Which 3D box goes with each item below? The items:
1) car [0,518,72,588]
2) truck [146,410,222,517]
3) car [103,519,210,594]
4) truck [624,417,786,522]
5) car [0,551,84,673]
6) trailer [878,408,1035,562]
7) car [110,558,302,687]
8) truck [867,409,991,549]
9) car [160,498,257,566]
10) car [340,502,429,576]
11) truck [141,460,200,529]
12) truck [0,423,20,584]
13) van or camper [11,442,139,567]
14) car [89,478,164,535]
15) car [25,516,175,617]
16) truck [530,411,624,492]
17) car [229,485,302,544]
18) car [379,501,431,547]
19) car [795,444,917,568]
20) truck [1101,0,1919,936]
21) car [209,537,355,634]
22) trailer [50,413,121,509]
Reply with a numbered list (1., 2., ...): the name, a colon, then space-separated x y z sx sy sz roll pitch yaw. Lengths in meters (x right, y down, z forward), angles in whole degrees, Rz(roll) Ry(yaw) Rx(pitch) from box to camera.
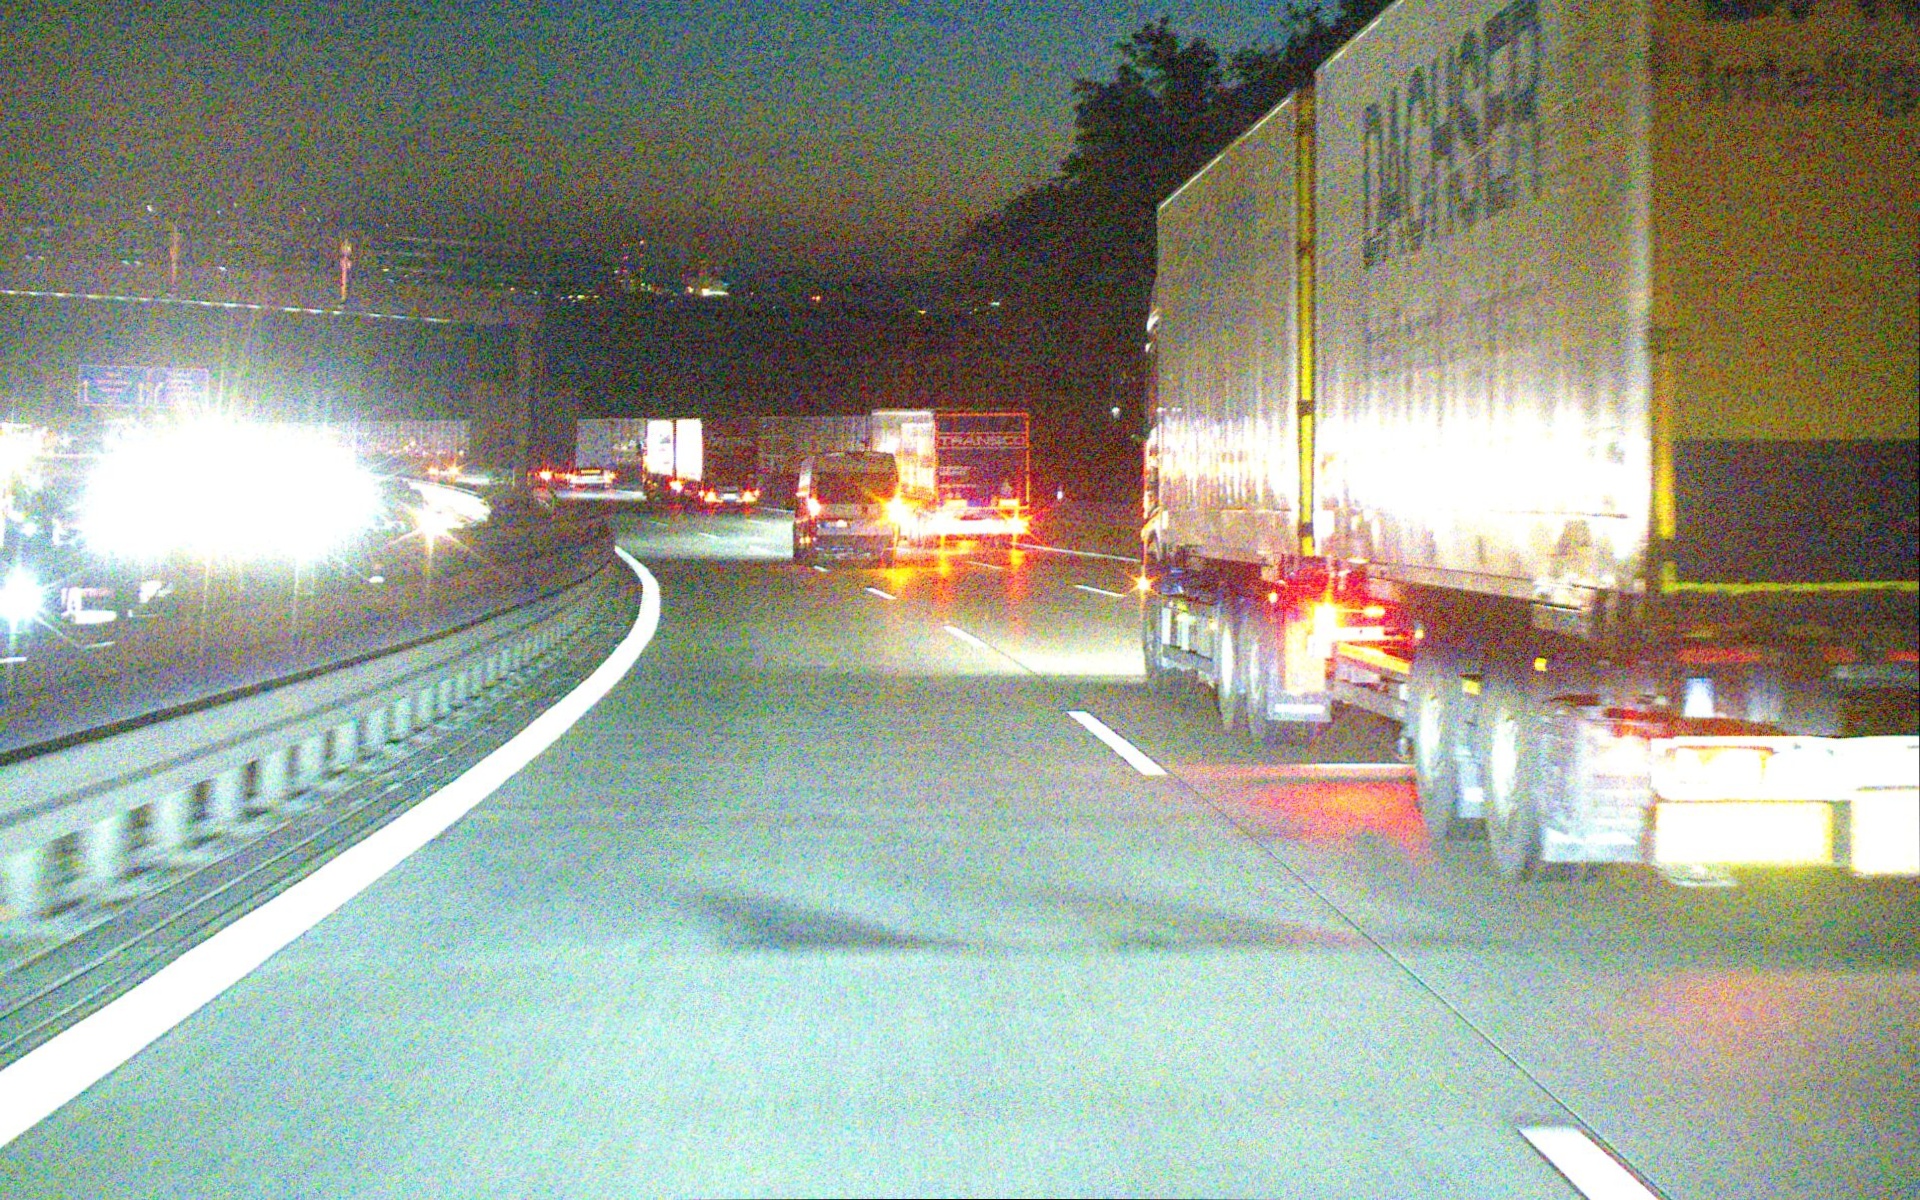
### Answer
1. car: -21.727 -1.103 79.852 1.640 1.534 4.439 -1 2 -8
2. truck: -31.081 -5.476 137.570 2.864 4.195 6.109 -1 3 -13
3. car: -15.520 -0.866 66.512 1.533 1.331 4.221 -1 2 -7
4. truck: -12.323 -6.194 163.079 3.914 4.611 21.026 -1 2 -15
5. car: -14.743 0.169 52.602 1.738 1.737 4.001 -1 2 -2
6. trailer: -0.250 -3.378 97.523 2.853 4.053 13.210 0 3 -7
7. car: -9.235 0.233 42.392 1.754 1.350 4.636 -1 2 -6
8. truck: -0.990 -3.693 103.263 2.861 4.062 7.513 0 3 -7
9. car: -16.838 -1.549 77.181 1.640 1.478 4.364 -1 2 -6
10. car: -12.742 -1.357 76.292 1.680 1.560 4.001 -2 1 -6
11. truck: -28.669 -3.855 124.741 1.993 2.449 5.053 -1 3 -14
12. truck: -20.494 -1.916 68.723 2.375 3.249 7.726 -2 2 -9
13. van or camper: -22.197 -2.461 86.503 2.222 2.993 7.126 0 3 -7
14. car: -24.611 -2.751 101.626 1.926 1.648 4.738 0 1 -11
15. car: -15.199 -0.631 60.954 1.993 1.654 4.455 -1 2 -7
16. truck: -22.615 -8.747 202.045 3.343 4.460 13.915 2 2 -15
17. car: -18.496 -2.297 91.668 1.640 1.534 4.001 -1 2 -8
18. car: -16.011 -2.191 99.236 1.418 1.252 3.130 0 3 -8
19. car: -2.295 -2.075 77.247 2.337 2.631 5.247 1 1 2
20. truck: 3.327 -1.106 20.445 3.482 4.120 18.711 1 1 -2
21. car: -10.305 -0.252 52.479 1.754 1.350 4.293 -1 2 -6
22. trailer: -40.553 -6.487 159.754 2.839 4.157 13.290 -3 3 -13
